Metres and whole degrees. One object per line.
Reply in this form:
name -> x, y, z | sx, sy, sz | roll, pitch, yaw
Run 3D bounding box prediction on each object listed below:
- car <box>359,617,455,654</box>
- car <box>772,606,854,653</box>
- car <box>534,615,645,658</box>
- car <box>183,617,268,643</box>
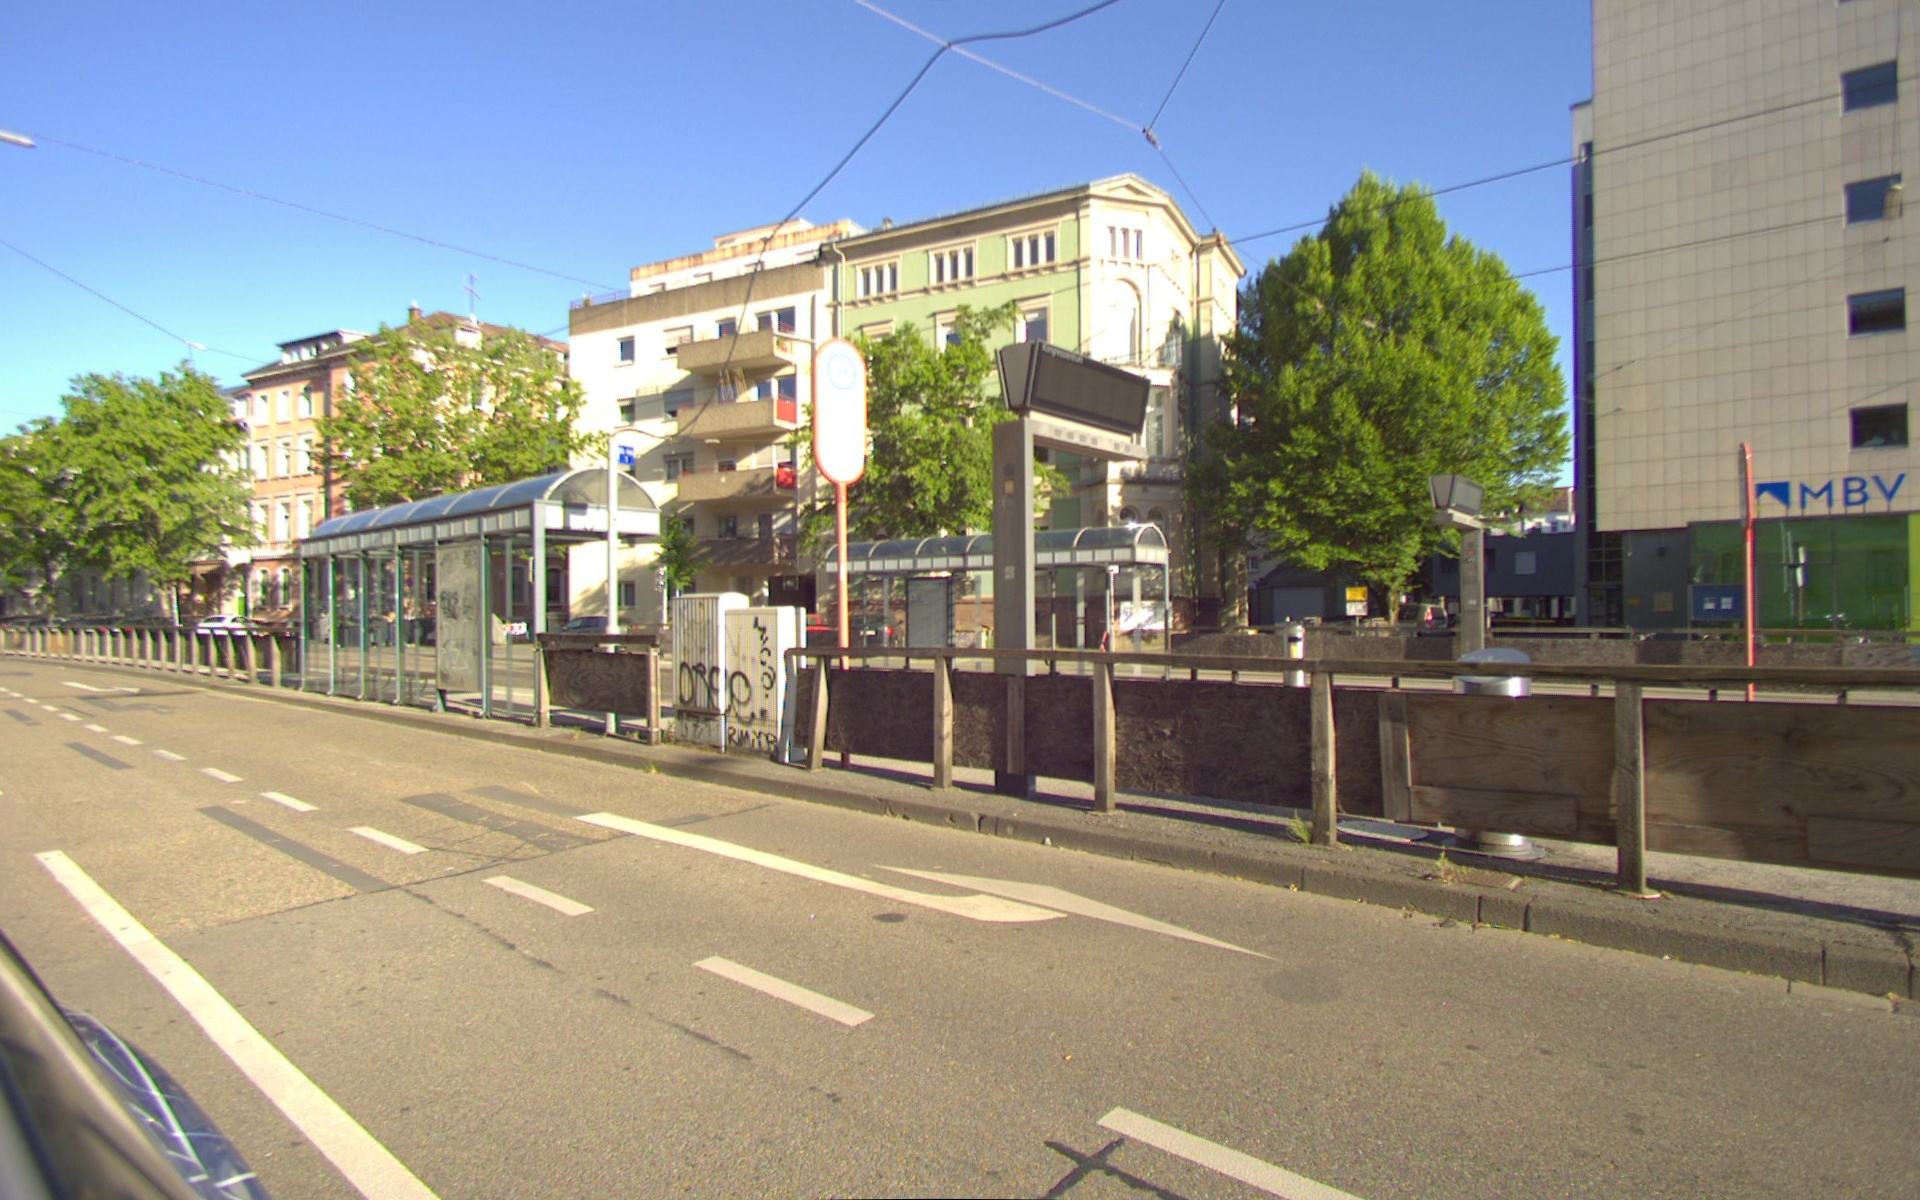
car -> -23.867, 1.512, 43.671 | 3.987, 1.541, 1.978 | -1, -2, 32
car -> -6.688, 1.343, 46.321 | 1.791, 2.029, 3.963 | -1, -1, 27
car -> -14.182, 1.391, 38.722 | 3.987, 1.542, 1.978 | -1, -2, 32
car -> -39.225, 1.583, 54.149 | 1.565, 1.360, 3.631 | 0, -1, 11
